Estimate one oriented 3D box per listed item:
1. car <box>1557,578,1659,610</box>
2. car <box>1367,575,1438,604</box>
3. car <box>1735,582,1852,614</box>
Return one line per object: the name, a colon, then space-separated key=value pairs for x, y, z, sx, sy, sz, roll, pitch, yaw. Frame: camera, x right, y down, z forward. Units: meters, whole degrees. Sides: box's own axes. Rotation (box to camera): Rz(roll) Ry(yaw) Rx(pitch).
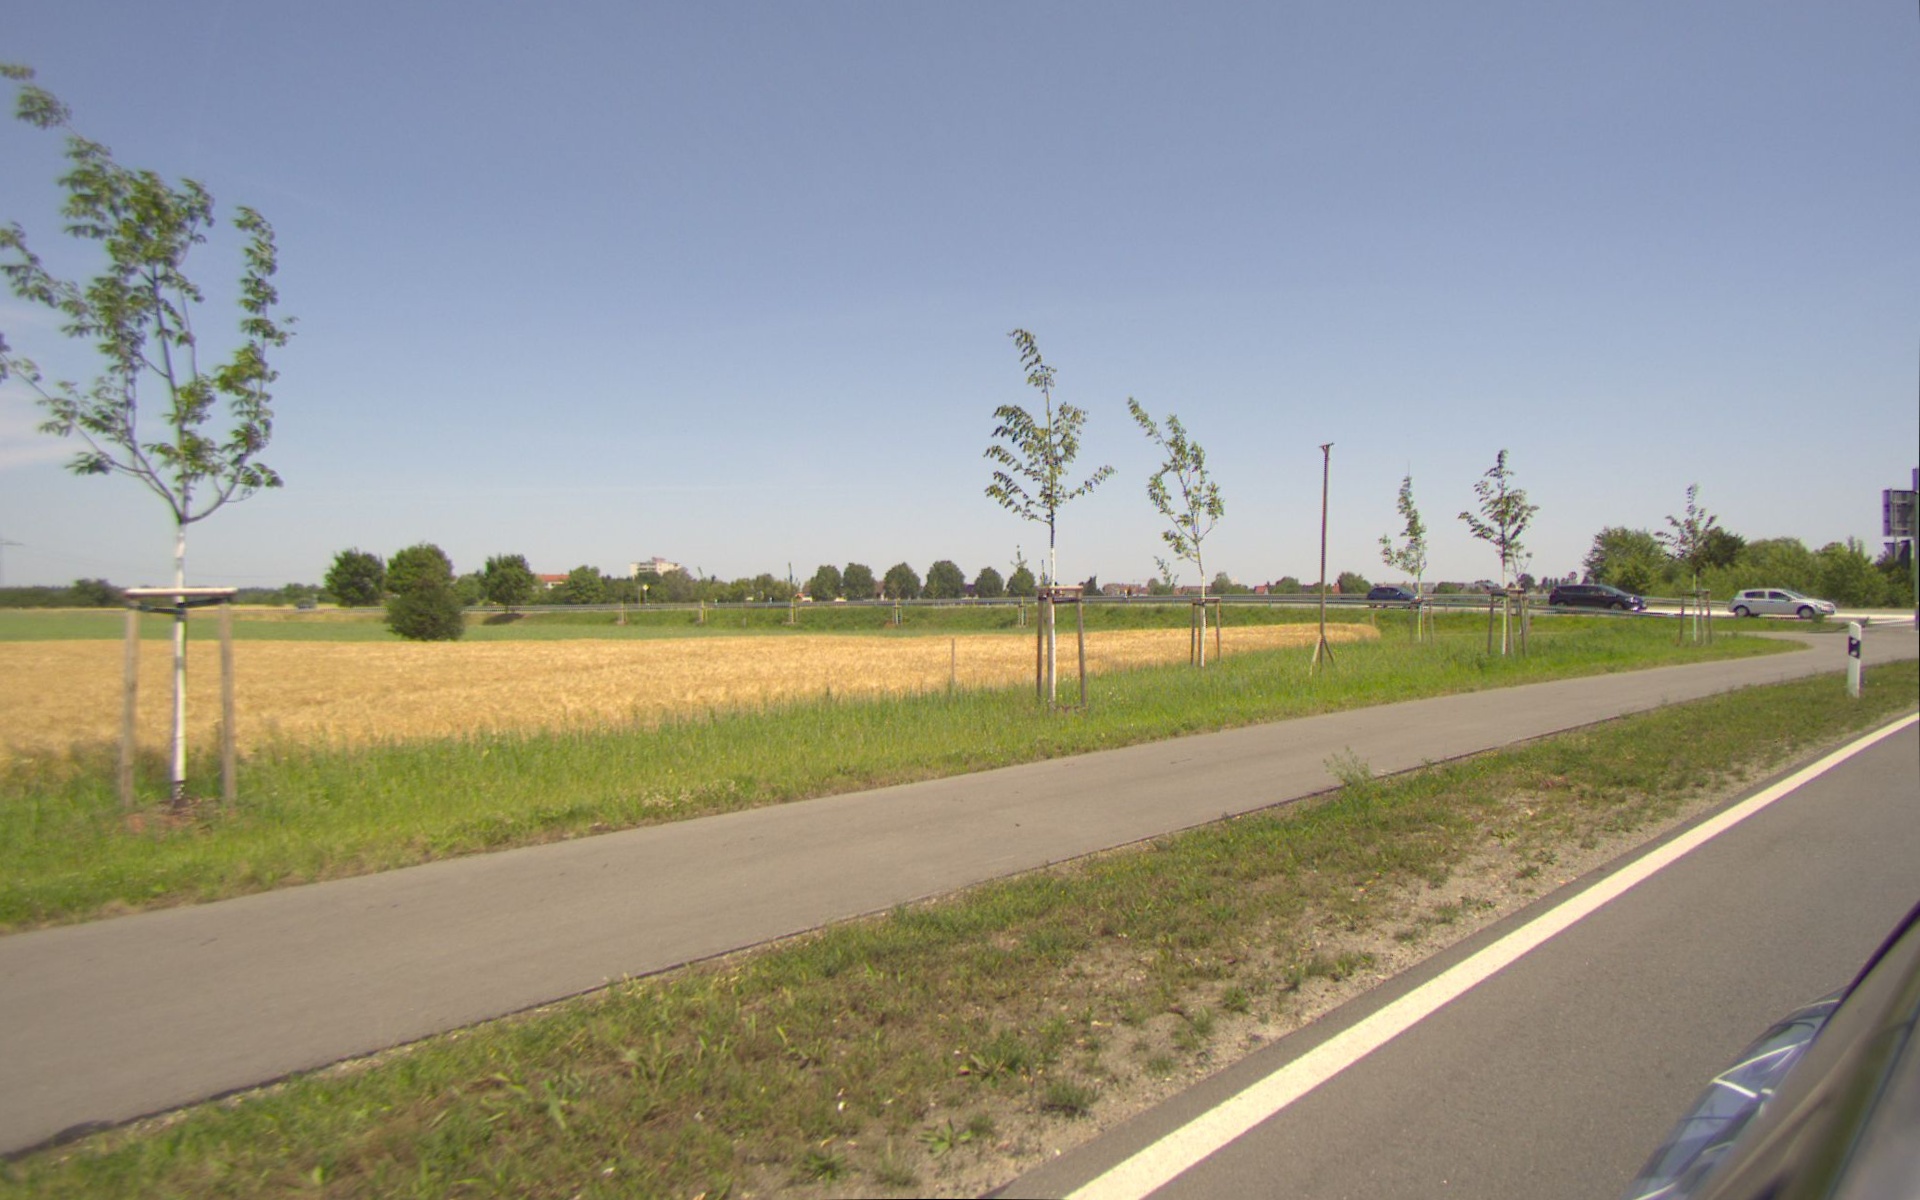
car: x=36.204 y=-0.372 z=56.667 sx=1.779 sy=1.661 sz=4.530 roll=-1 pitch=2 yaw=-32
car: x=29.230 y=-0.655 z=66.862 sx=3.902 sy=1.831 sz=1.892 roll=-1 pitch=0 yaw=41
car: x=40.822 y=-0.115 z=49.672 sx=1.628 sy=1.478 sz=4.154 roll=-1 pitch=1 yaw=-32
